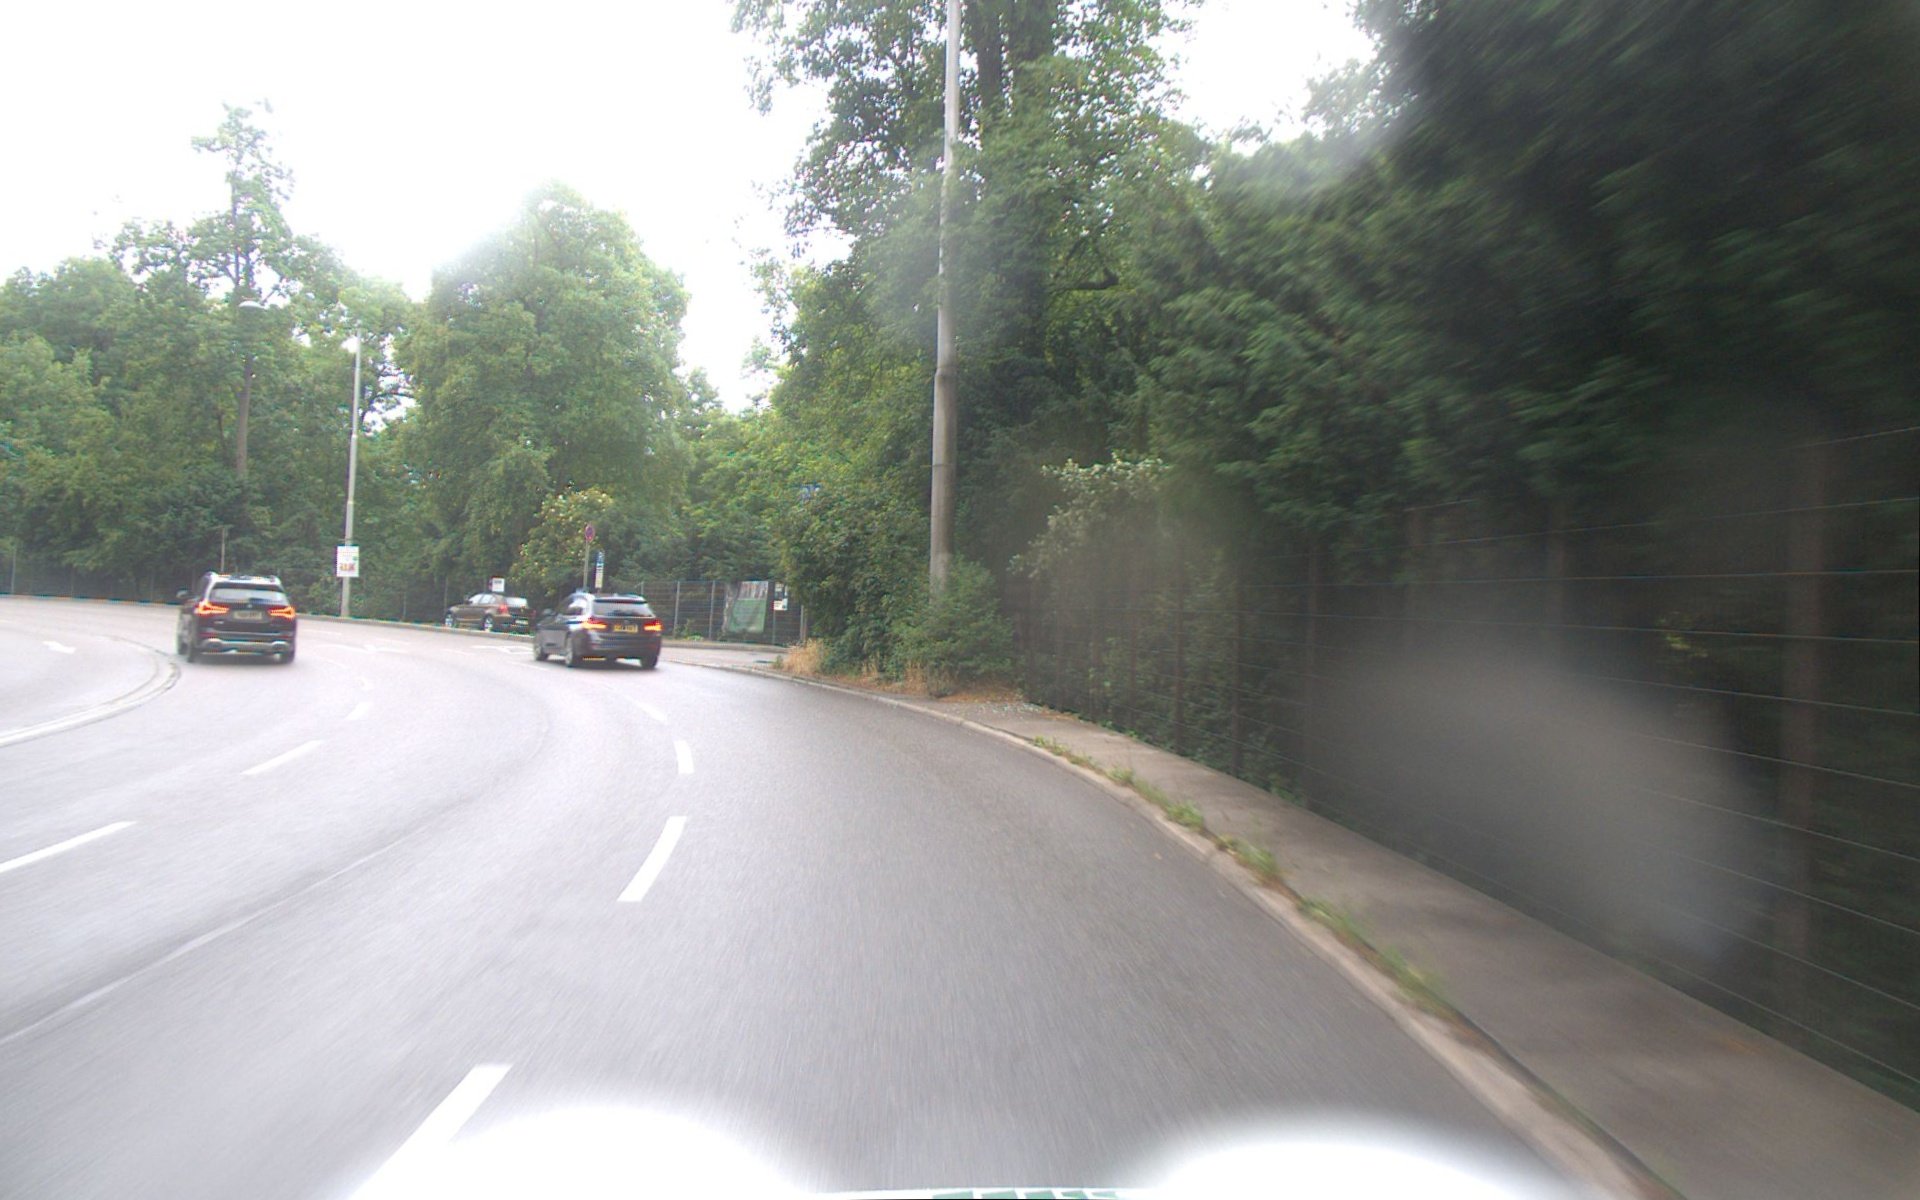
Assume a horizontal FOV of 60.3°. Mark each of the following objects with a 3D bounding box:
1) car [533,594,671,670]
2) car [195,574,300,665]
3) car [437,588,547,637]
[{"bbox_3d":[-7.416,0.607,33.964,1.737,1.457,4.374,1,0,-27],"label":"car"},{"bbox_3d":[-13.949,0.338,32.353,1.734,1.613,4.380,1,1,-24],"label":"car"},{"bbox_3d":[-16.707,0.442,58.973,4.295,1.451,1.682,3,-3,43],"label":"car"}]
